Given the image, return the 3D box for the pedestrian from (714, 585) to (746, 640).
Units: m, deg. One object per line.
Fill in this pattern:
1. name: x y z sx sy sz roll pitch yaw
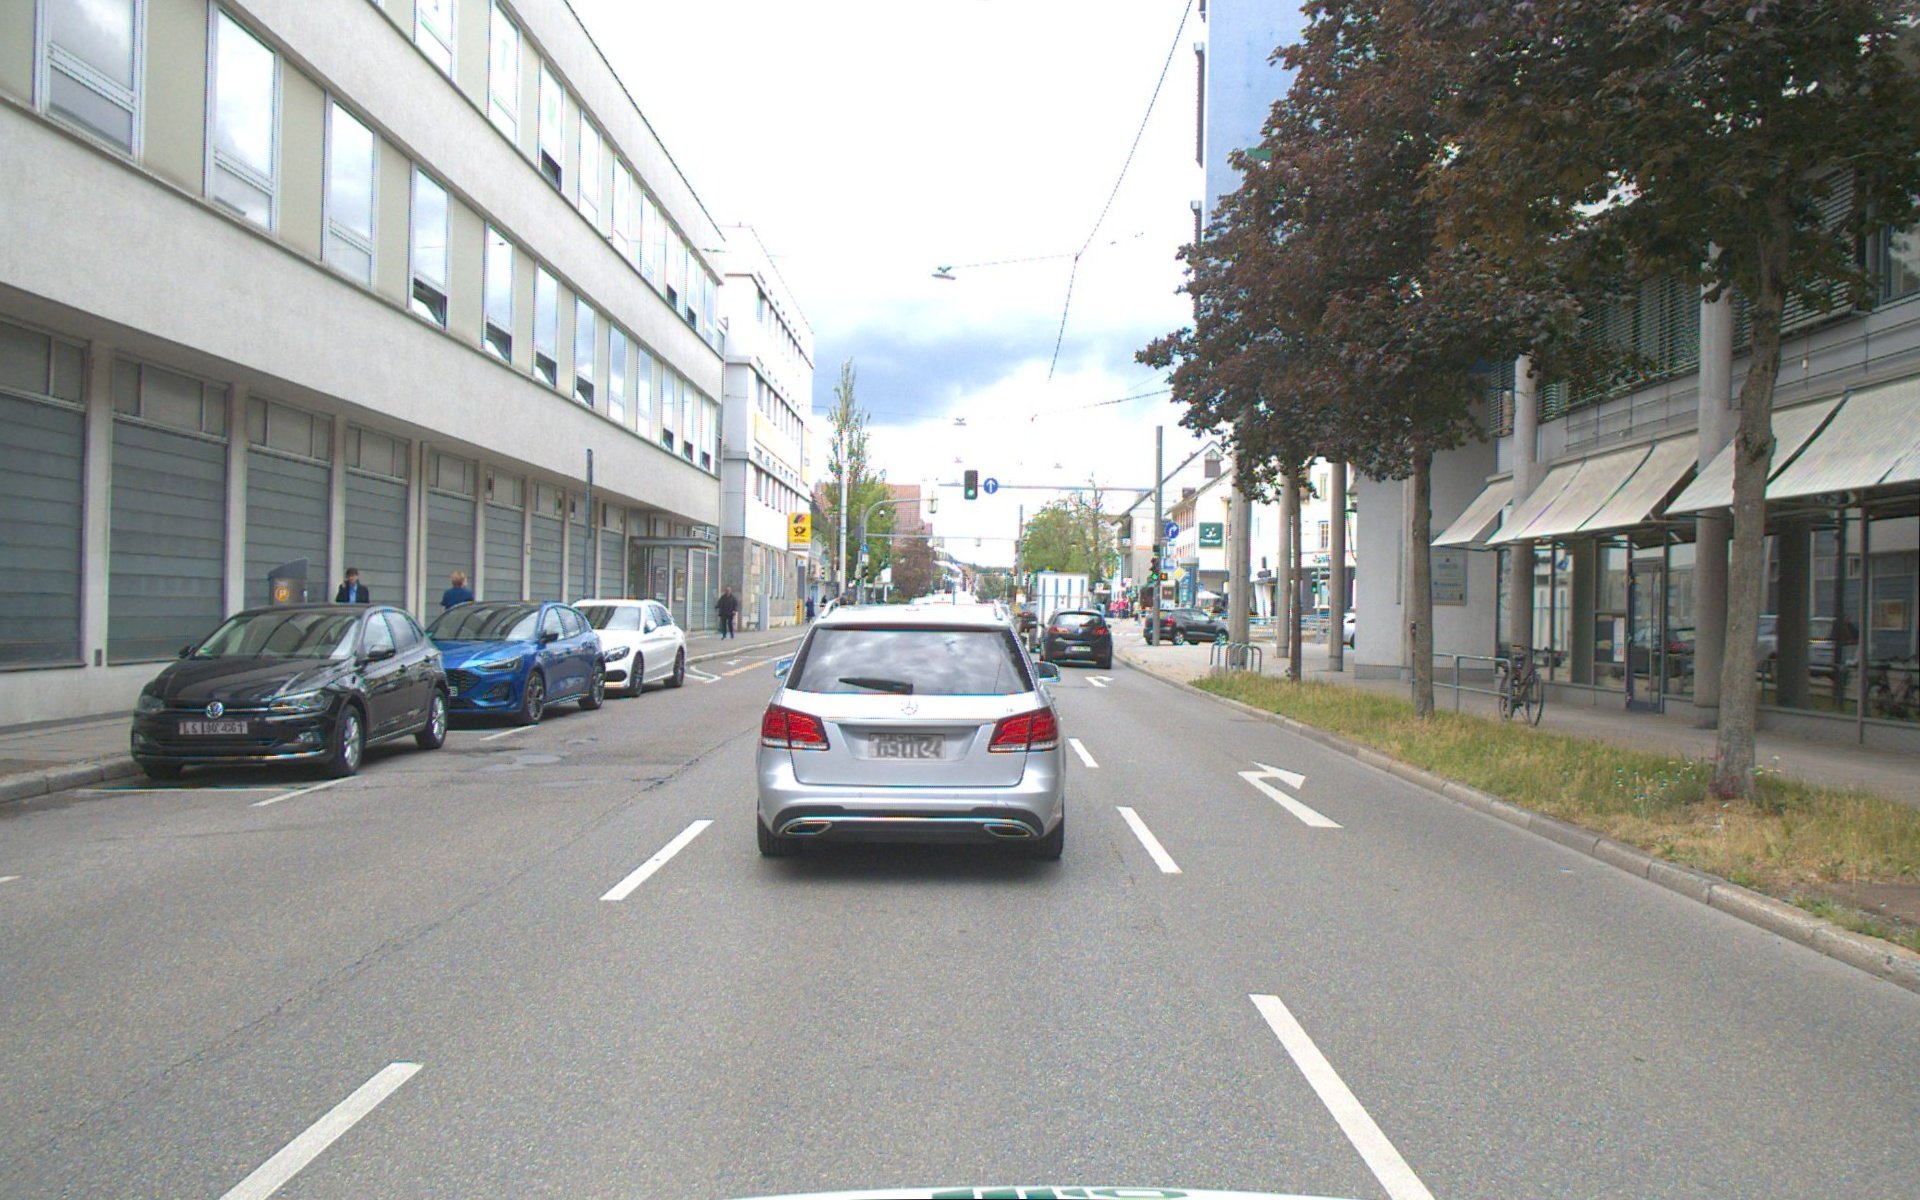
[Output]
1. pedestrian: -7.482 0.411 53.788 0.844 1.748 1.031 2 0 -1

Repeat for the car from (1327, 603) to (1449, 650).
1. car: 17.374 1.058 67.289 4.453 1.633 1.740 3 0 0

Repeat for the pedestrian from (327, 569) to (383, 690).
1. pedestrian: -8.923 0.427 24.400 0.577 1.748 0.649 1 0 -2

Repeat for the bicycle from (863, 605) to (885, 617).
1. bicycle: -7.660 0.962 147.968 1.902 1.047 0.529 2 0 -9

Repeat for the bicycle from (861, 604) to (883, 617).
1. bicycle: -7.905 0.957 149.223 1.902 1.047 0.529 2 0 -9

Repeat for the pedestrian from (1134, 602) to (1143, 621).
1. pedestrian: 13.956 0.880 129.091 0.566 1.495 0.651 2 0 -2

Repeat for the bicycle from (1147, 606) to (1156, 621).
1. bicycle: 14.637 1.062 126.332 0.438 1.127 2.149 1 0 2

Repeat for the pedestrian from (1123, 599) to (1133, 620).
1. pedestrian: 13.477 0.748 132.513 0.567 1.695 0.649 2 -1 -10

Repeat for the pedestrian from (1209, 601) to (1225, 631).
1. pedestrian: 15.429 0.949 99.167 0.639 1.748 0.700 0 0 44

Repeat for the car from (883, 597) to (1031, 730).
1. car: -0.059 0.741 21.238 1.699 1.534 3.999 1 0 -1

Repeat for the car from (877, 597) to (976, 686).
1. car: -0.627 0.720 30.900 1.699 1.534 3.999 1 0 -1

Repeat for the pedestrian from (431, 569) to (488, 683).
1. pedestrian: -7.836 0.397 25.932 0.577 1.748 1.055 1 0 -1

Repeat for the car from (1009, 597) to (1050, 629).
1. car: 3.325 0.605 79.688 1.699 1.435 3.999 1 0 -1

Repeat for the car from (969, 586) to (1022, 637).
1. car: 1.273 0.409 61.246 1.791 1.816 3.999 1 0 -1

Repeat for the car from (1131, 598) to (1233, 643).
1. car: 8.769 0.808 65.213 3.758 1.699 1.904 1 0 -37

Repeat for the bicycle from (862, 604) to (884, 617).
1. bicycle: -7.786 0.960 148.629 1.902 1.047 0.529 2 0 -9

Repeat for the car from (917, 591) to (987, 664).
1. car: -0.231 0.679 42.625 1.699 1.790 3.999 1 0 -1

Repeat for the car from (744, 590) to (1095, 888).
1. car: -0.251 0.724 10.698 1.808 1.534 4.170 1 0 -1

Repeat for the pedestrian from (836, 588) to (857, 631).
1. pedestrian: -4.710 0.387 68.710 0.634 1.748 0.783 2 0 8

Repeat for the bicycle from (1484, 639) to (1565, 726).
1. bicycle: 7.781 1.112 22.870 0.353 1.105 2.027 2 0 -1

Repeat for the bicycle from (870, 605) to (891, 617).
1. bicycle: -7.311 0.989 151.949 1.902 1.047 0.529 2 0 -9

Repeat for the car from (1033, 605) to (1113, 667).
1. car: 2.843 0.881 42.318 1.699 1.435 3.999 1 0 -1

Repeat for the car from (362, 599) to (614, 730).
1. car: -5.766 0.722 20.759 1.777 1.451 4.265 -1 0 2

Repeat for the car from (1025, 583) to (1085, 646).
1. car: 3.262 0.477 57.511 1.839 1.979 4.907 3 0 1

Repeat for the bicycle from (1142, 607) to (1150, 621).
1. bicycle: 14.196 1.063 126.338 0.438 1.110 2.149 1 0 2

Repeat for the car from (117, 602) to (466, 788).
1. car: -5.892 0.757 15.084 1.681 1.450 3.869 -1 0 -1

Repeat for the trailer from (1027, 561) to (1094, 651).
1. trailer: 3.173 0.184 53.074 1.839 2.658 4.323 3 0 1

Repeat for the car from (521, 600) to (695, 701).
1. car: -5.546 0.741 26.639 1.635 1.459 4.554 -1 0 2
